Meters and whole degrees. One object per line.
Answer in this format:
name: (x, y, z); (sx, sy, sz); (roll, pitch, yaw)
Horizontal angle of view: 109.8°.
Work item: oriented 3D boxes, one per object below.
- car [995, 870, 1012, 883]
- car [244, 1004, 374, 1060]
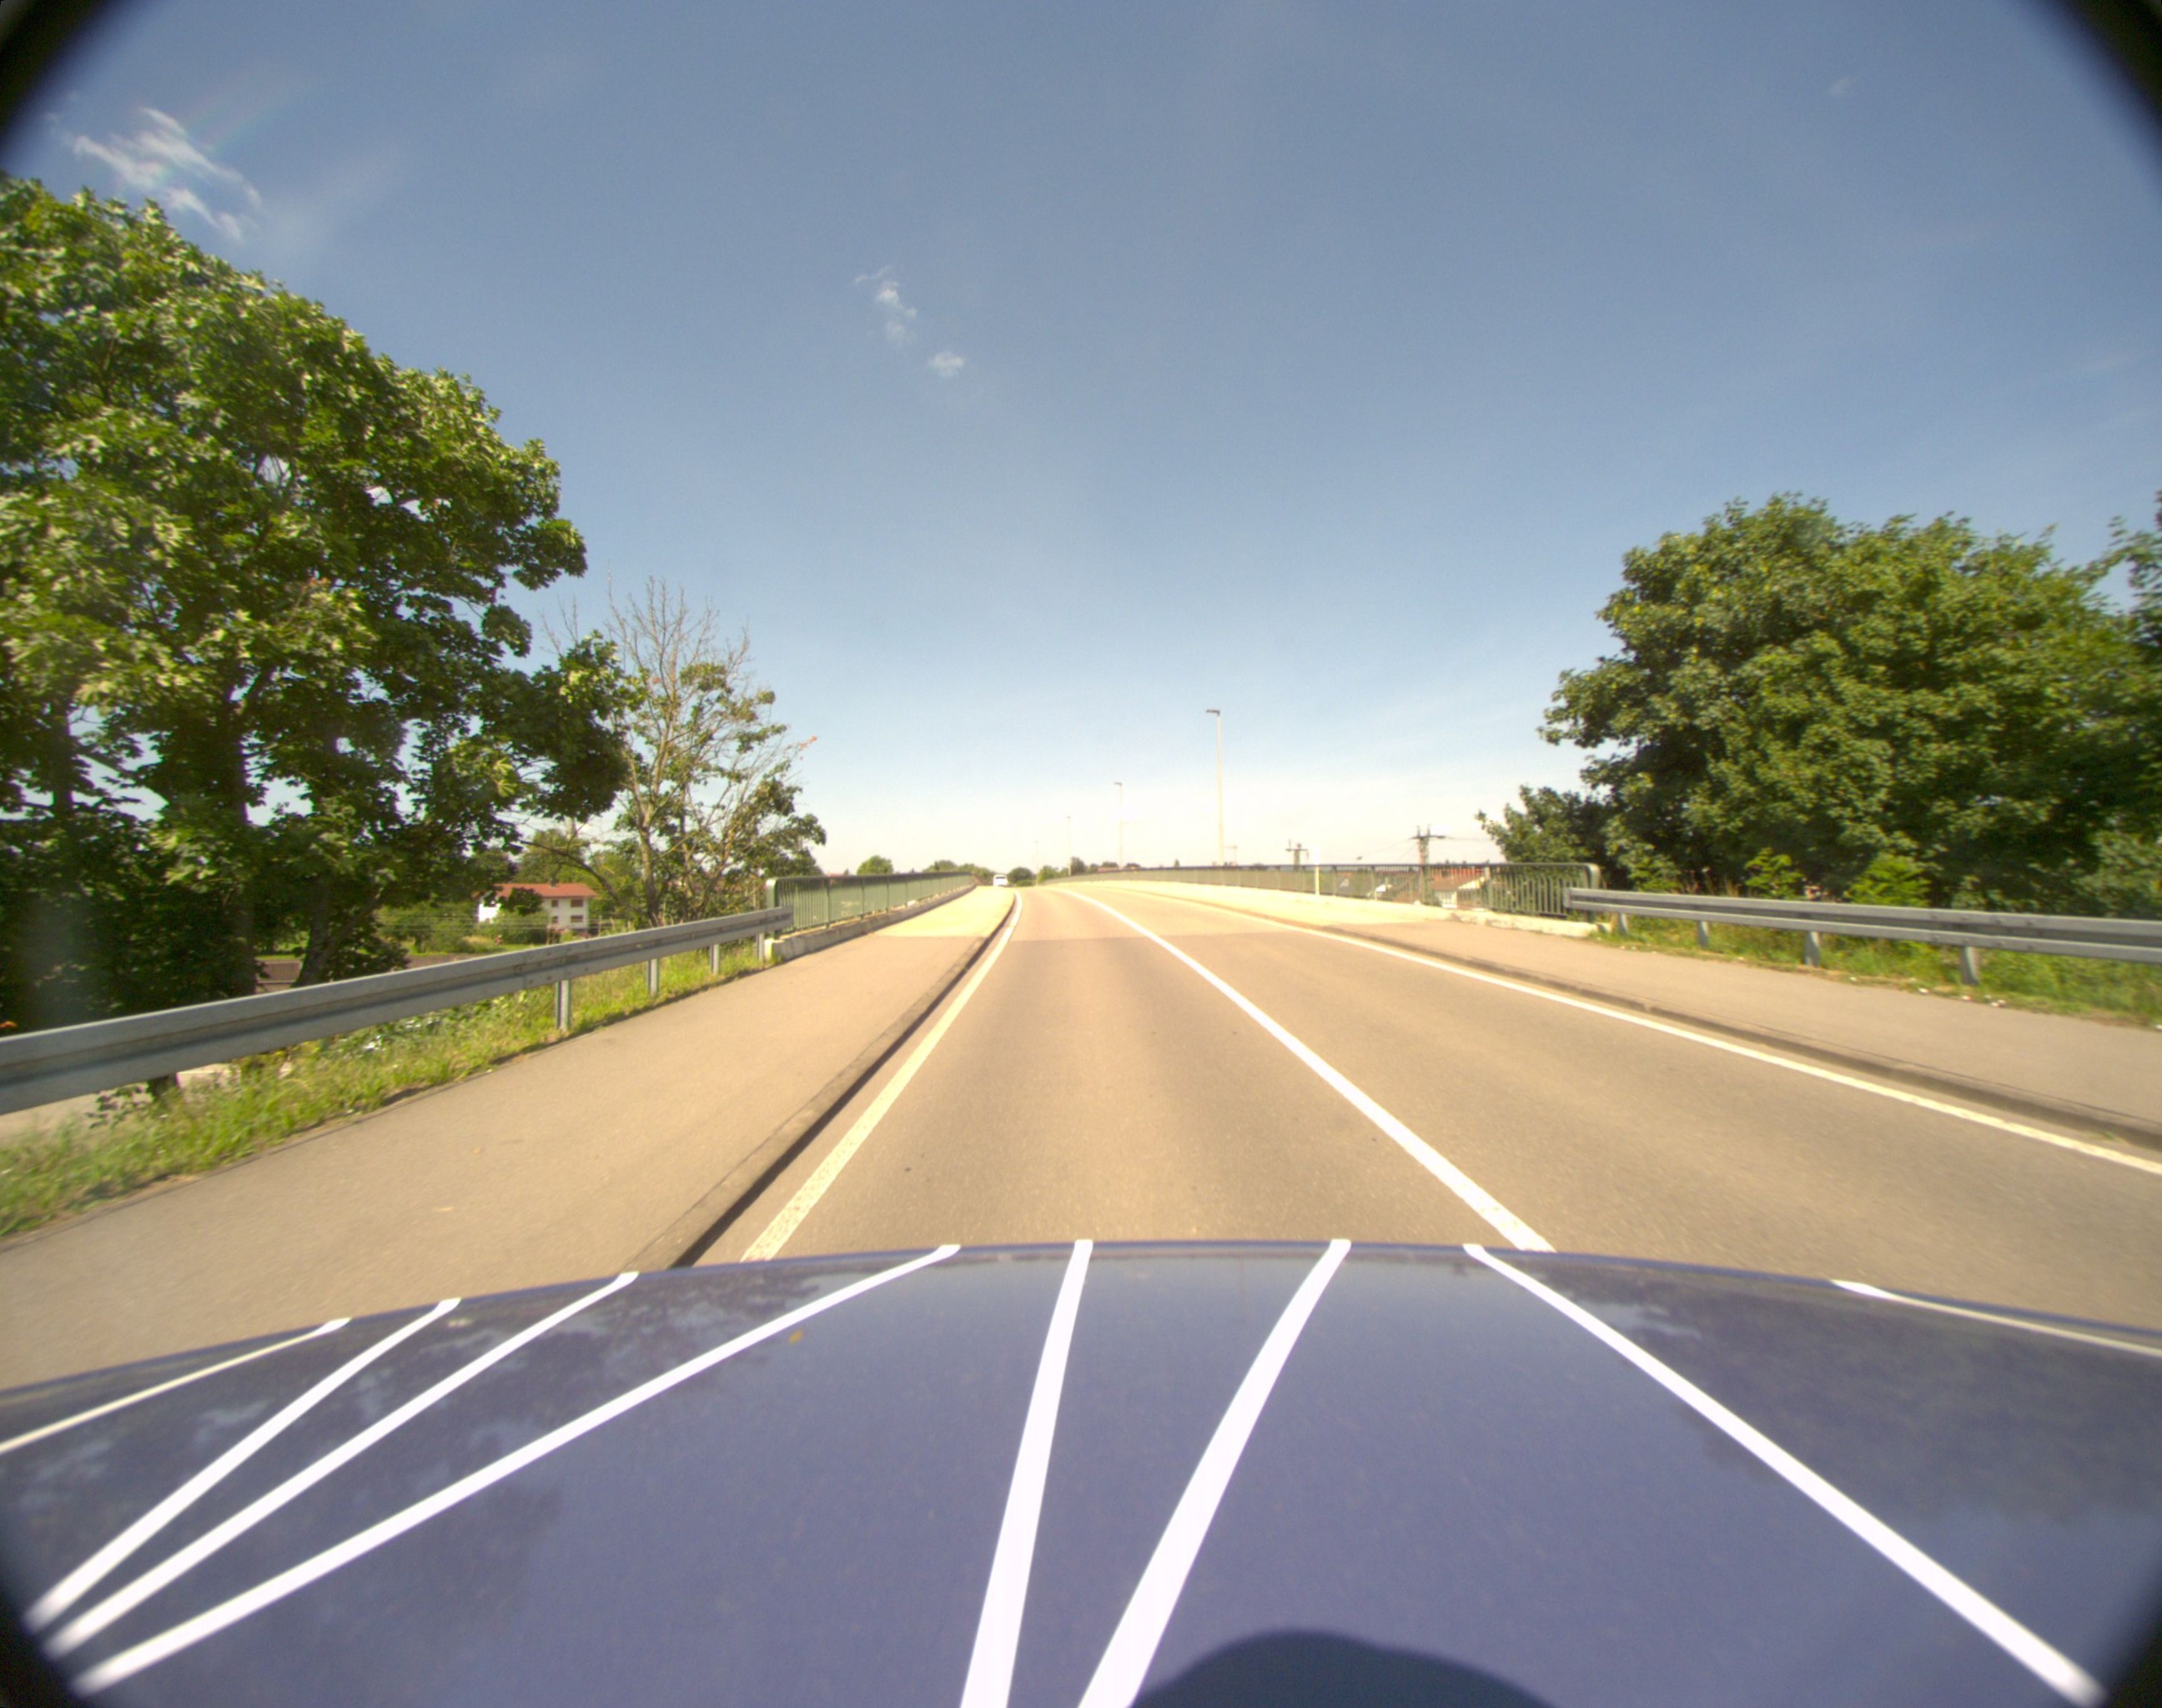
car: (-10.667, 3.092, 104.343); (2.094, 1.750, 4.281); (-2, -1, -7)
car: (-36.477, 8.382, 36.093); (1.999, 1.585, 4.243); (-5, -1, -6)
